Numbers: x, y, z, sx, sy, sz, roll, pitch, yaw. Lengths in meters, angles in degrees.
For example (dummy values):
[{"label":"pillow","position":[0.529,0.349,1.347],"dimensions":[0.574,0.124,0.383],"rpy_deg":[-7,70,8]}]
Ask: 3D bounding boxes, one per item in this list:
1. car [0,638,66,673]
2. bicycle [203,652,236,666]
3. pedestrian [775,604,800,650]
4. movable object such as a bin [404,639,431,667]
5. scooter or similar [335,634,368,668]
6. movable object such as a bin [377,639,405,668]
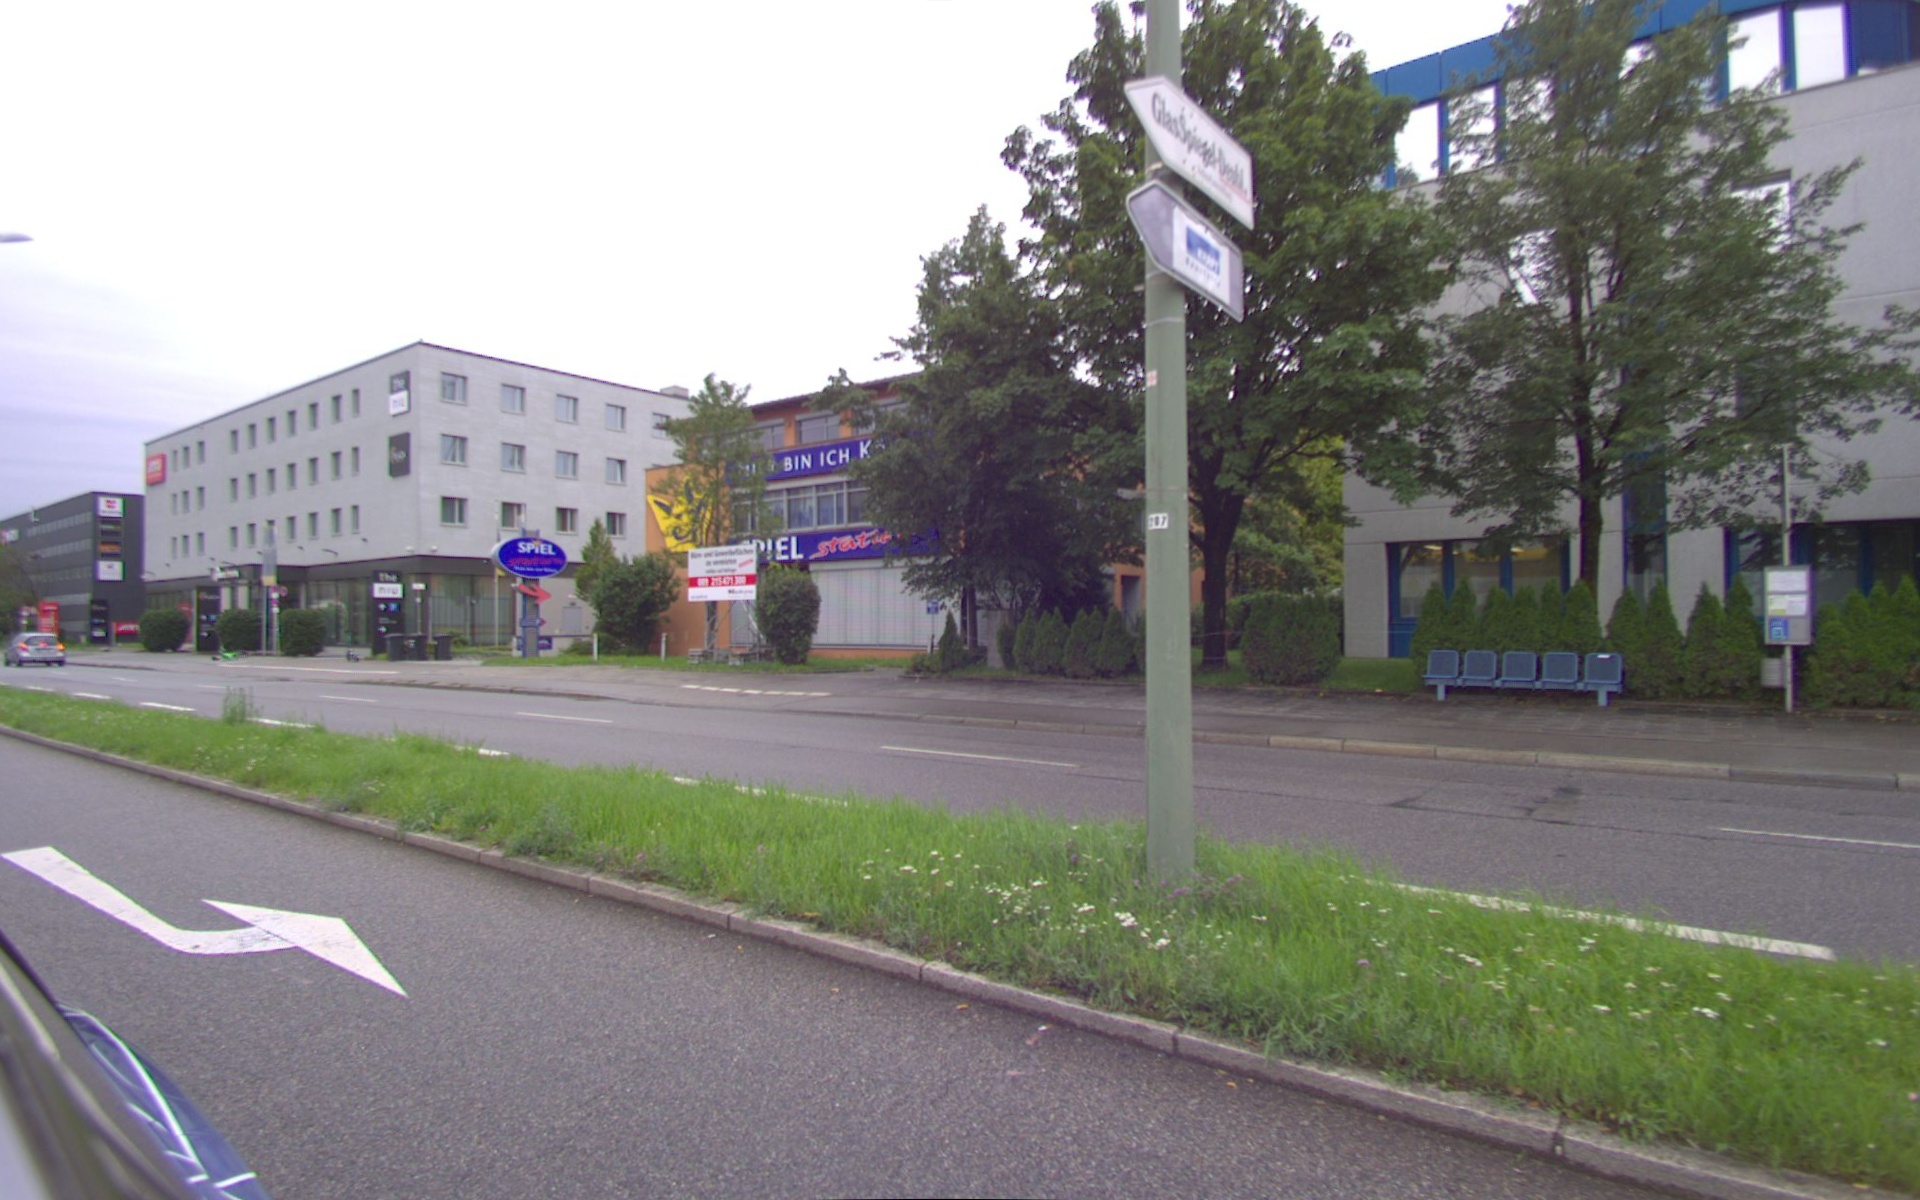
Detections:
[{"label":"car","position":[-44.422,2.618,48.430],"dimensions":[4.021,1.569,1.796],"rpy_deg":[-2,-3,39]},{"label":"bicycle","position":[-33.533,2.657,45.826],"dimensions":[1.729,0.553,0.713],"rpy_deg":[-2,2,37]},{"label":"pedestrian","position":[-6.534,1.015,38.322],"dimensions":[0.662,1.725,0.651],"rpy_deg":[-2,-1,43]},{"label":"movable object such as a bin","position":[-21.293,2.076,39.739],"dimensions":[0.654,1.086,0.730],"rpy_deg":[-2,-1,37]},{"label":"scooter or similar","position":[-24.263,2.029,40.356],"dimensions":[1.401,1.287,0.580],"rpy_deg":[-2,3,38]},{"label":"movable object such as a bin","position":[-22.208,2.064,39.492],"dimensions":[0.654,1.086,0.730],"rpy_deg":[-2,-1,37]}]
